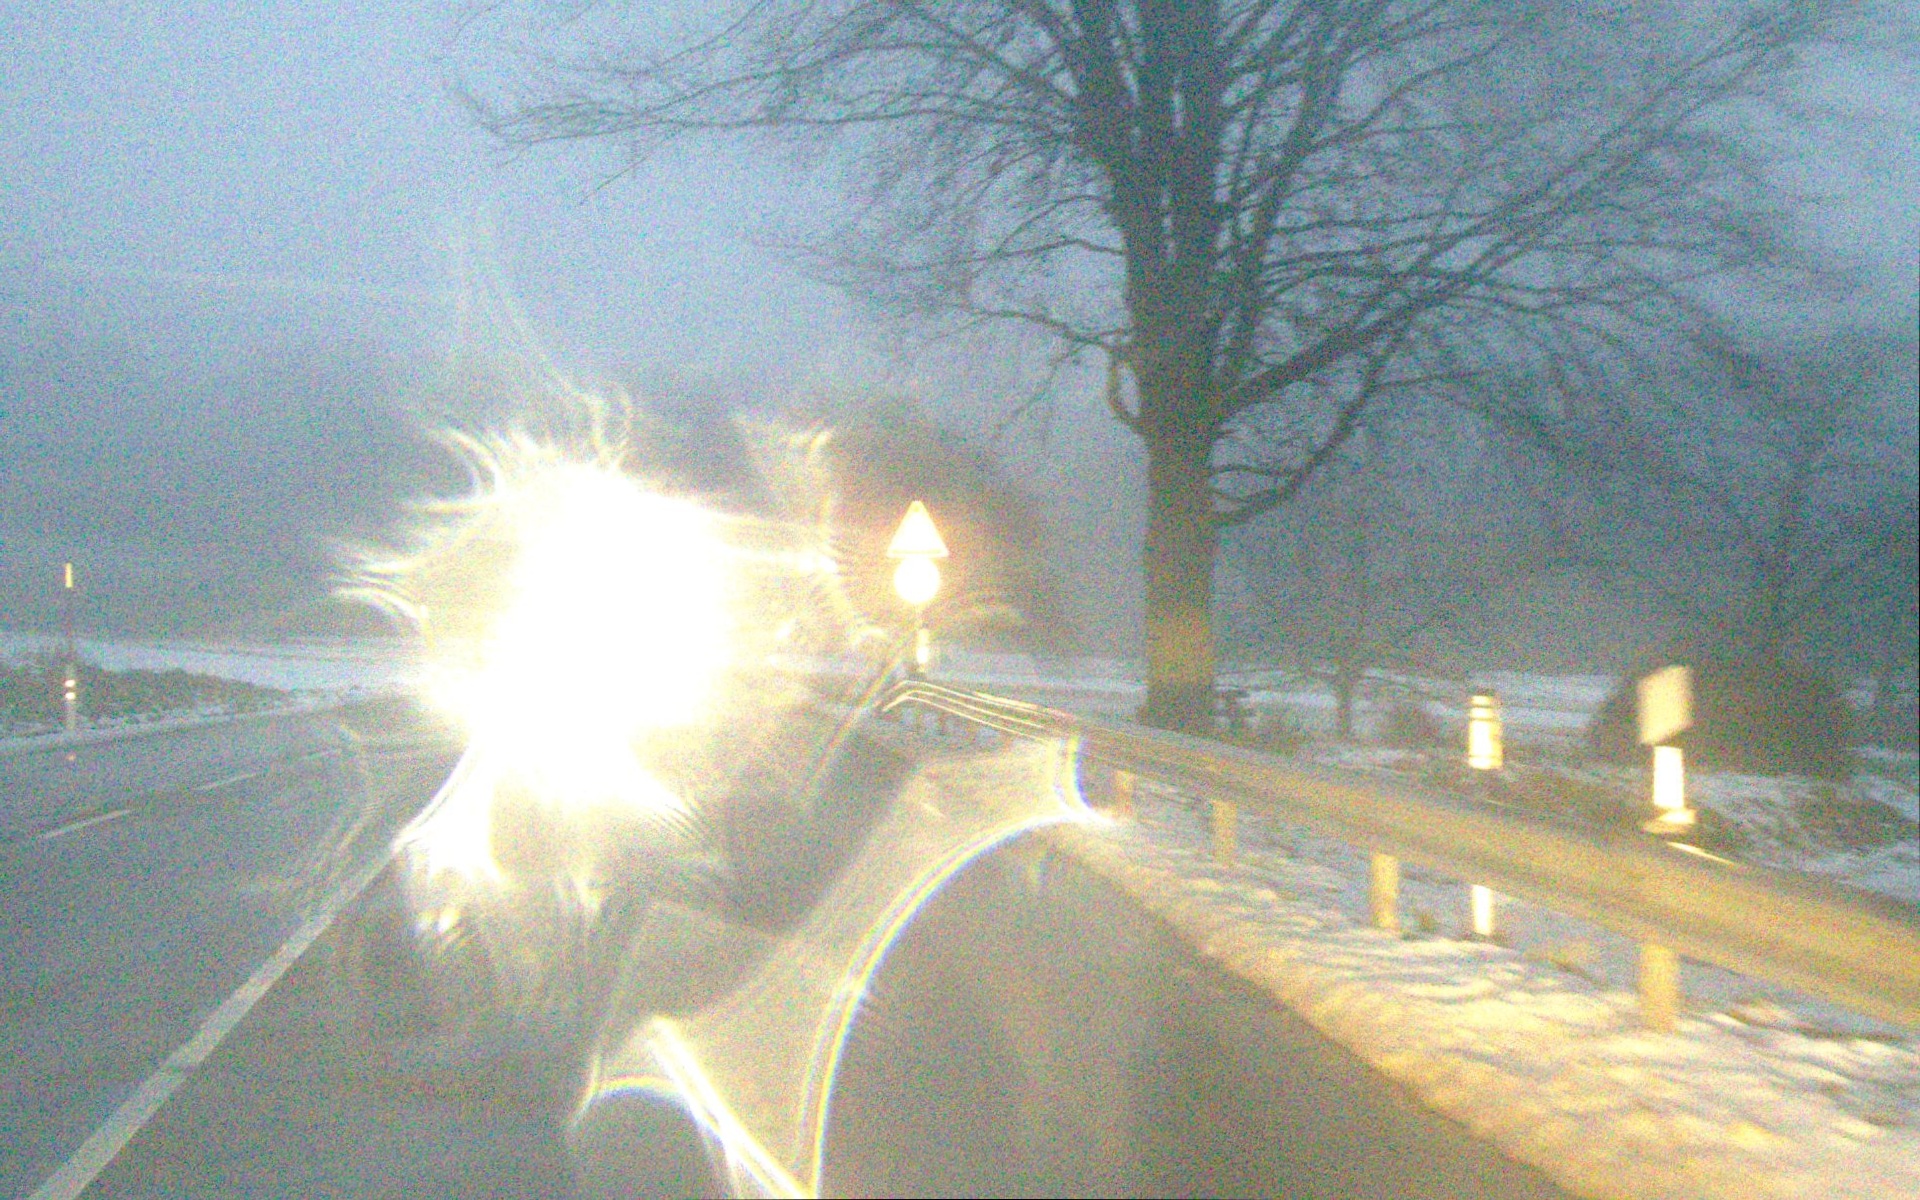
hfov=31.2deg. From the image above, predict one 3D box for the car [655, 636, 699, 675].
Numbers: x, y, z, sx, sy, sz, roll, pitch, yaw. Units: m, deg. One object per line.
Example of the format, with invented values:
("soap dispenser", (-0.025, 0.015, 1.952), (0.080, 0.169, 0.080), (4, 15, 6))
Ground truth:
("car", (-12.185, 2.376, 148.008), (1.692, 1.547, 3.856), (1, 1, -2))
